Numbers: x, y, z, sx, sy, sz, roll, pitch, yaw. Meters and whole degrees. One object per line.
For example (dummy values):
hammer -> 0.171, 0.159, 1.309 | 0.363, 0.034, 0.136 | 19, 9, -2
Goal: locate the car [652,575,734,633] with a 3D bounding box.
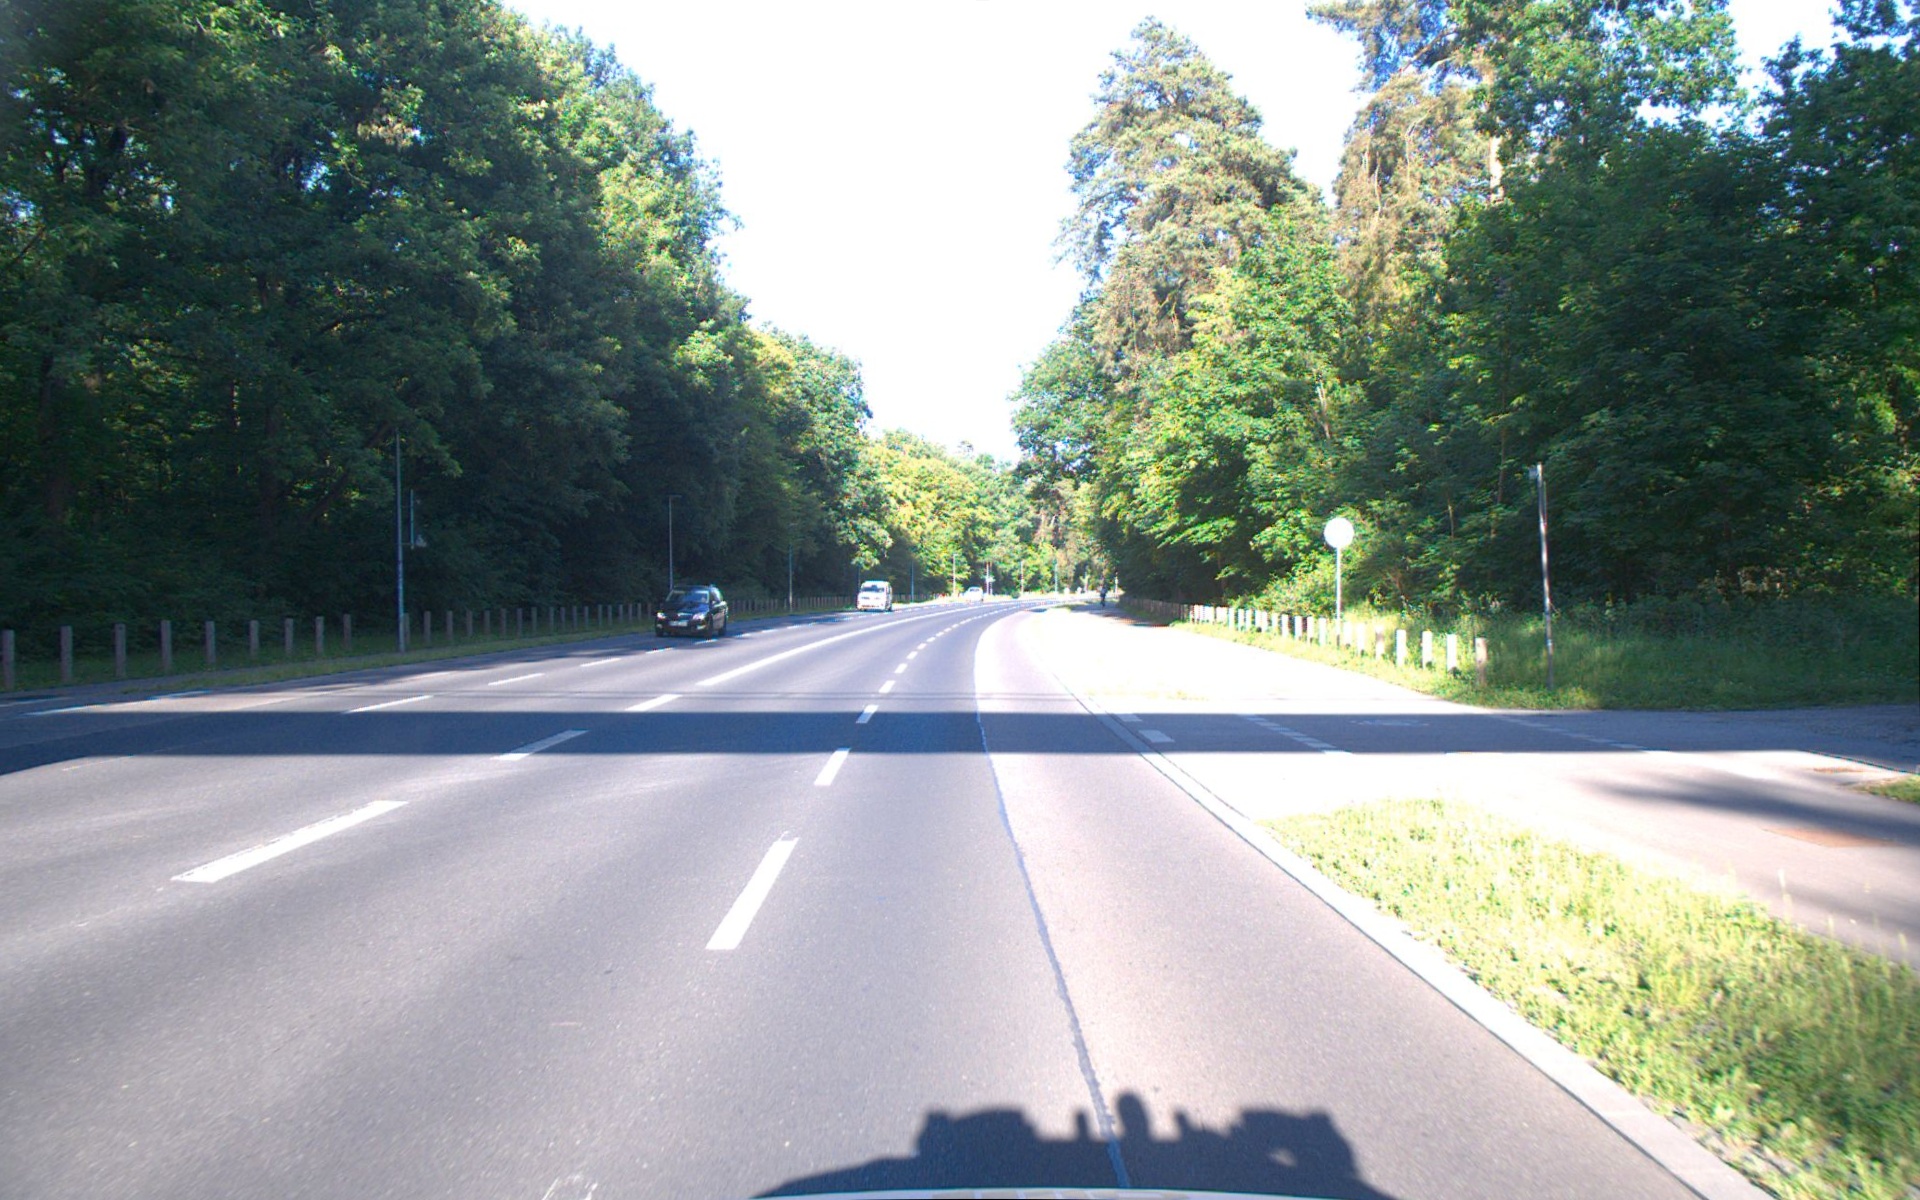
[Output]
car -> -7.898, 0.082, 49.269 | 1.687, 1.601, 4.178 | 2, 1, 0

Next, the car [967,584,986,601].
car -> 1.788, -0.814, 176.522 | 1.746, 1.739, 4.002 | 0, 0, 4

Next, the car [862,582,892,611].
car -> -5.077, -0.242, 101.592 | 1.670, 1.739, 4.000 | 0, 0, -1
